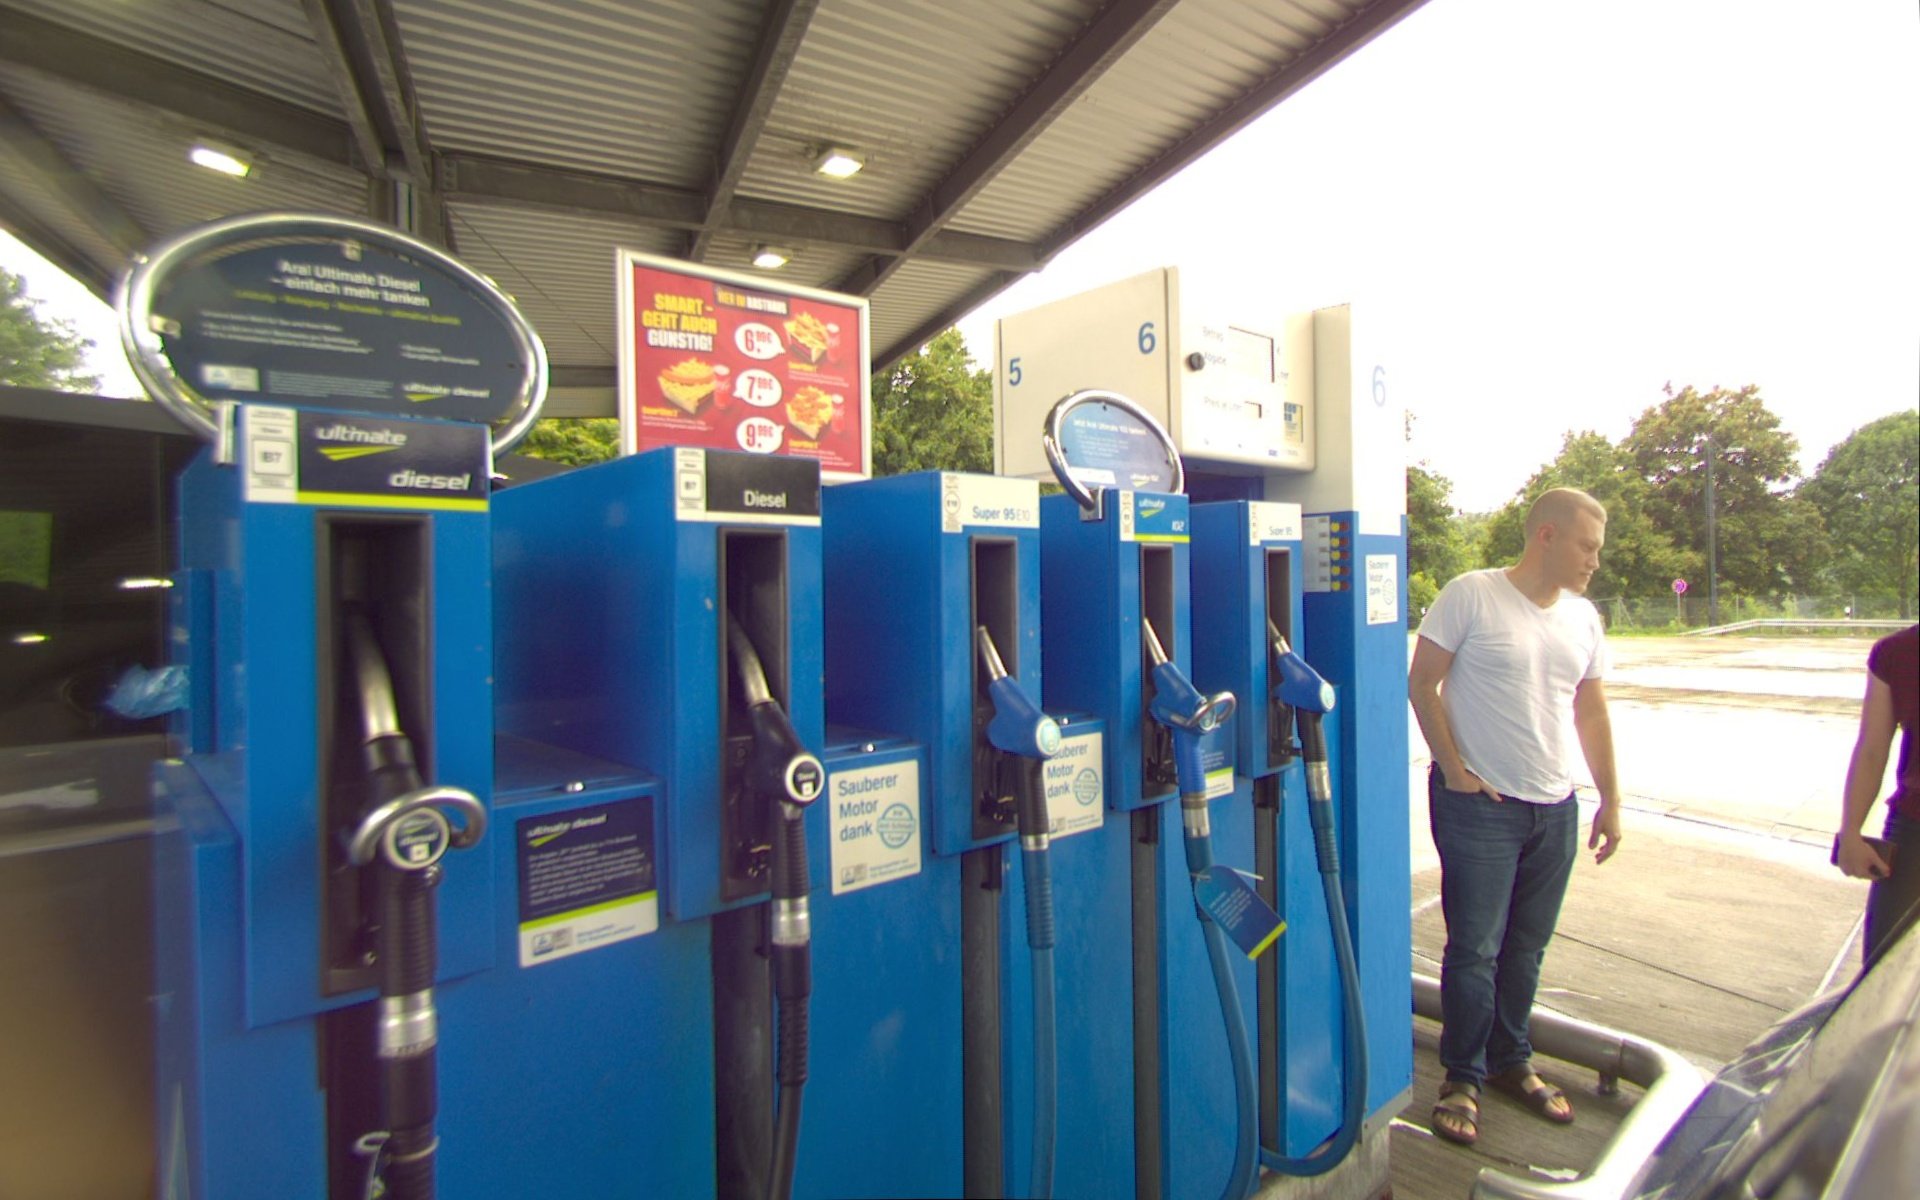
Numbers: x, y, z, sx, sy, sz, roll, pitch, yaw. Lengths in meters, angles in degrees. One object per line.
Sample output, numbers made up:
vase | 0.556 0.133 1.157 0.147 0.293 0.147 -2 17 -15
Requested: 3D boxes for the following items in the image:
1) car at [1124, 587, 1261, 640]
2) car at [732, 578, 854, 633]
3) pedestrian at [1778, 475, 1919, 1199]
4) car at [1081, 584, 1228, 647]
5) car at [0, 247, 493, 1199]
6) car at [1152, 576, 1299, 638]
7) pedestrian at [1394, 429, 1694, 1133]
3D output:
car | 7.388 0.403 32.144 4.123 1.576 1.990 0 0 17
car | -5.562 0.150 33.462 1.967 1.683 4.170 0 0 -44
pedestrian | 2.636 0.586 2.576 0.792 1.756 0.829 1 1 36
car | 5.800 0.419 30.010 4.123 1.752 1.990 0 0 17
car | -3.031 0.422 1.475 3.930 1.973 1.819 0 0 -41
car | 8.925 0.206 34.329 4.700 2.011 2.007 0 0 14
pedestrian | 1.654 0.471 2.947 0.625 1.832 0.492 -1 1 15
